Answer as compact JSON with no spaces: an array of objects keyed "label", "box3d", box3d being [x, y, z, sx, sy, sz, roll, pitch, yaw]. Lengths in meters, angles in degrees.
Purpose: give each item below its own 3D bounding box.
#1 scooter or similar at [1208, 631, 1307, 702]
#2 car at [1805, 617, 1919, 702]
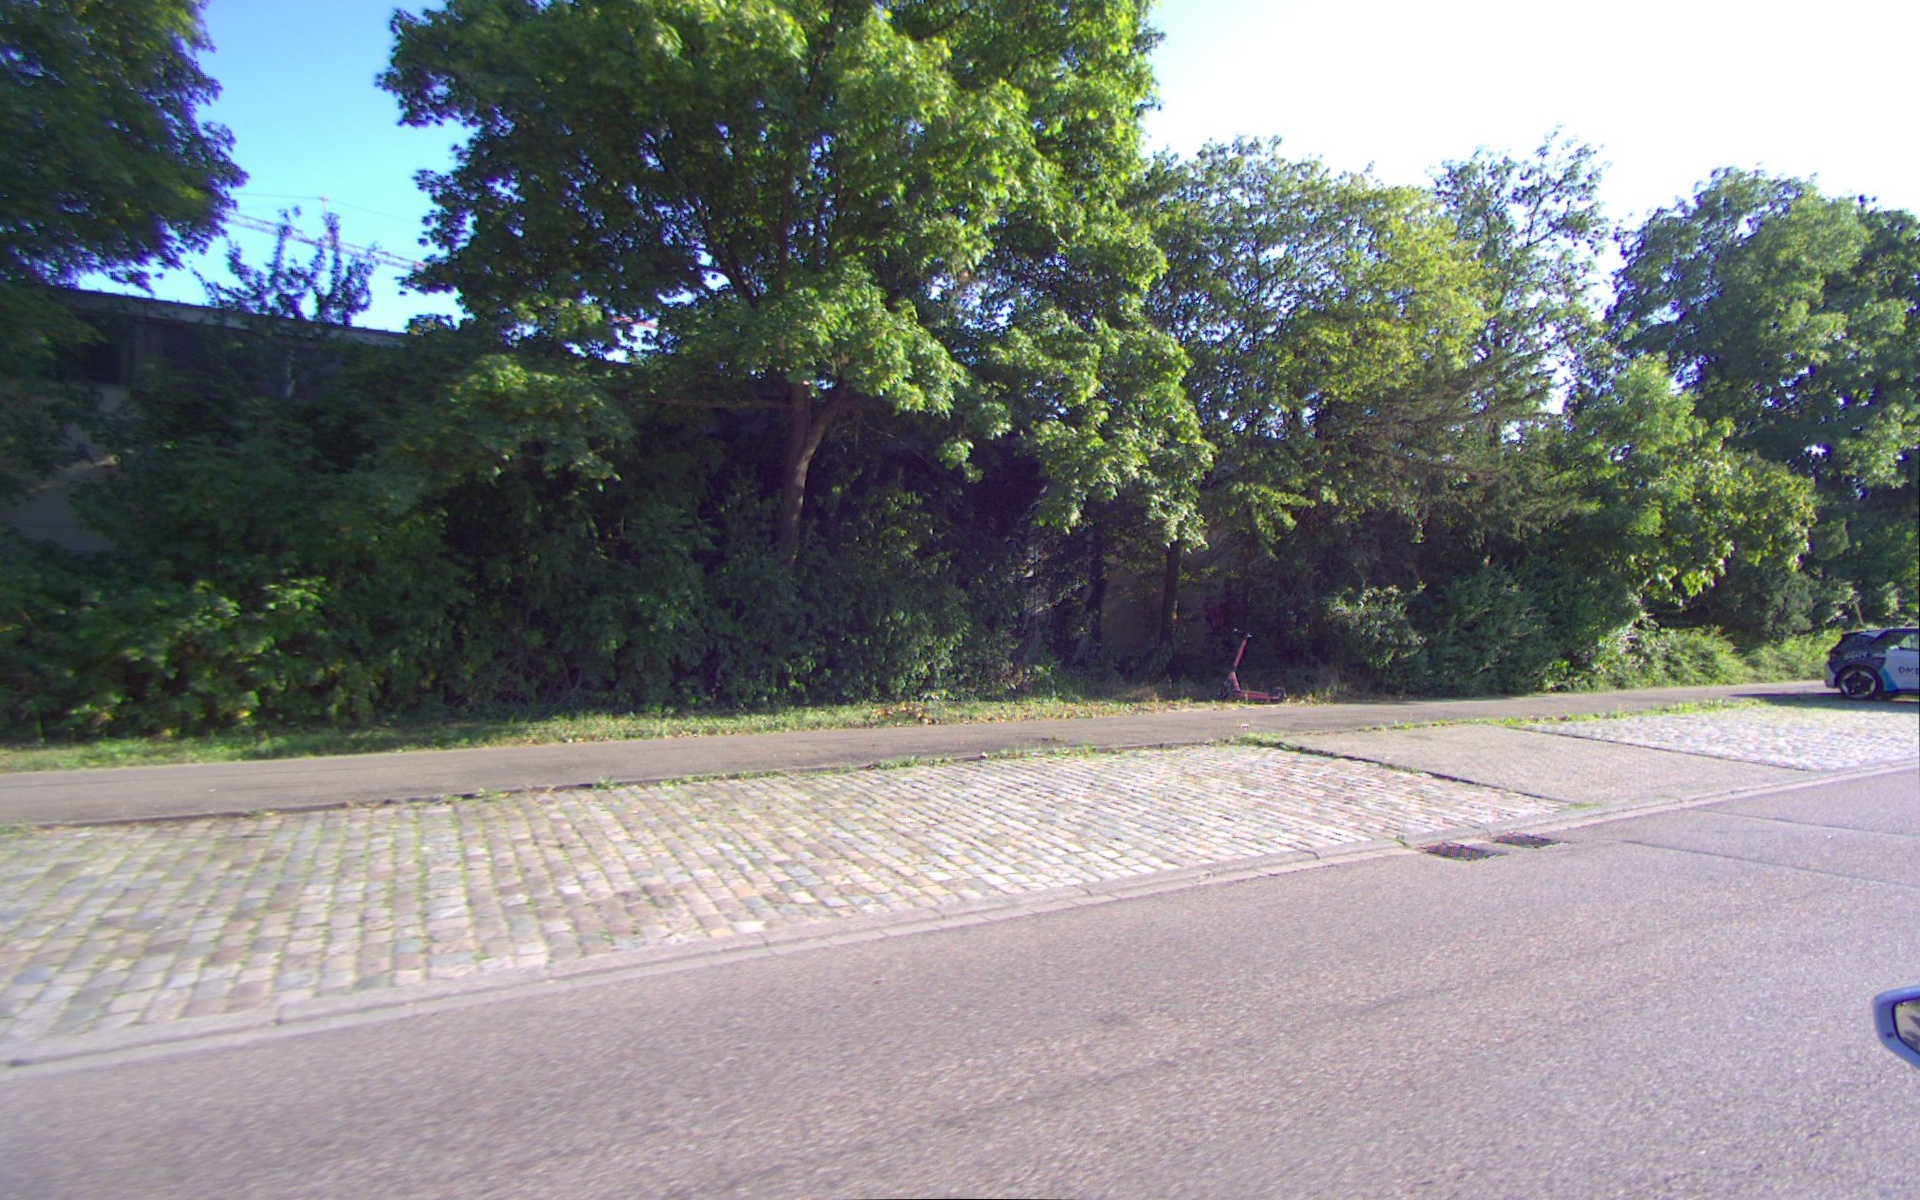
[{"label":"scooter or similar","box3d":[5.045,1.115,17.108,1.552,1.160,0.578,0,-1,10]},{"label":"car","box3d":[20.030,1.265,20.081,1.975,1.568,4.339,1,2,-28]}]
